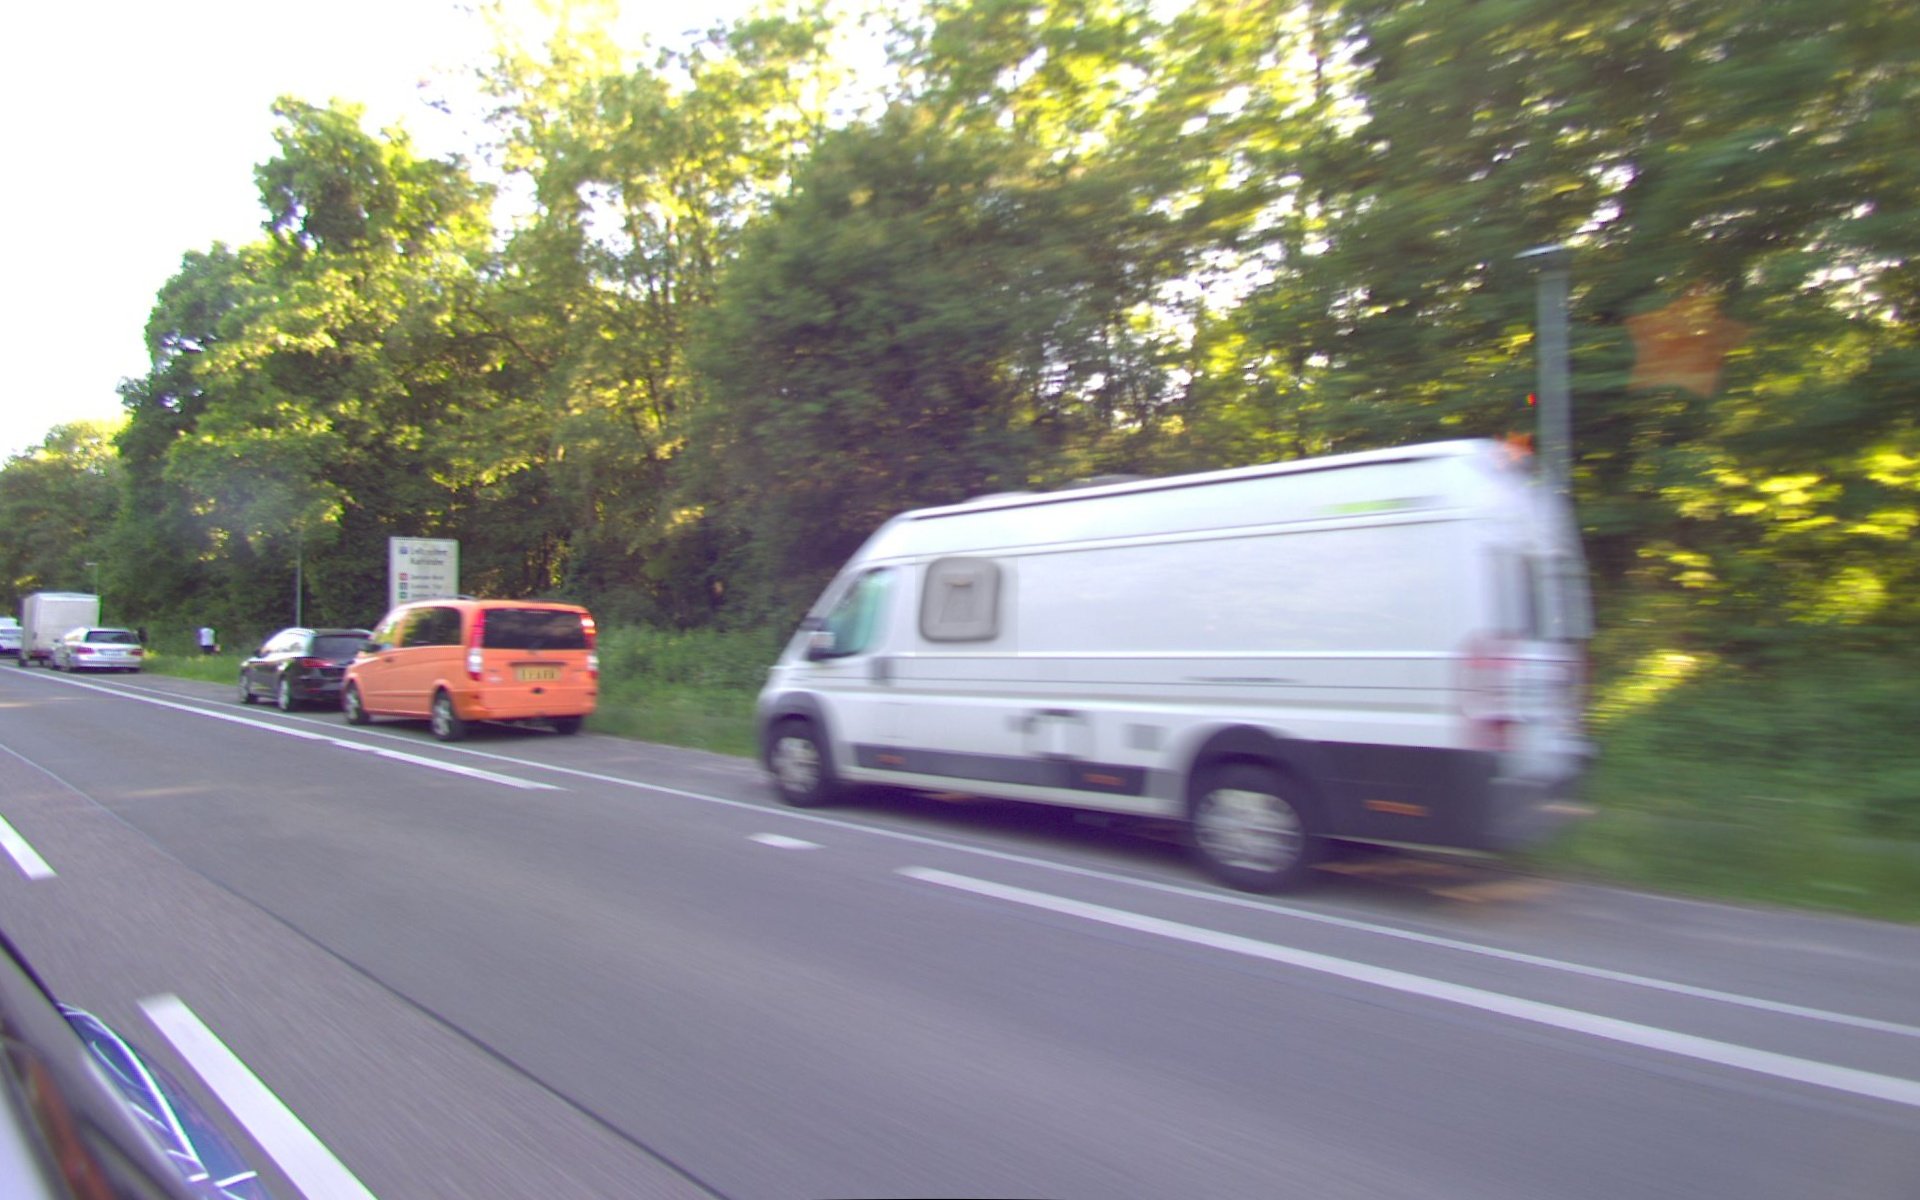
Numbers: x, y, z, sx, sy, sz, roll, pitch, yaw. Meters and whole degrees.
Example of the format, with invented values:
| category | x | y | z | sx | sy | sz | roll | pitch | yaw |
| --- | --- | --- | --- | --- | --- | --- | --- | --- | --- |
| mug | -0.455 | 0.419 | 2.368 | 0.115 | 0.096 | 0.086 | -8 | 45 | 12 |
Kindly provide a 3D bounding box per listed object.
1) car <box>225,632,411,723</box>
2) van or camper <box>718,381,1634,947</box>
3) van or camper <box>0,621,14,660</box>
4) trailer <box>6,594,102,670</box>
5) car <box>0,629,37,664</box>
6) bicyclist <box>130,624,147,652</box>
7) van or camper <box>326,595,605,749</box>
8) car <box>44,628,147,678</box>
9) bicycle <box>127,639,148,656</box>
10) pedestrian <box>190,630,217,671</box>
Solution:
| category | x | y | z | sx | sy | sz | roll | pitch | yaw |
| --- | --- | --- | --- | --- | --- | --- | --- | --- | --- |
| car | -11.880 | 1.342 | 18.620 | 4.322 | 1.489 | 1.713 | -2 | -3 | 41 |
| van or camper | 0.992 | 0.371 | 7.611 | 6.539 | 2.592 | 2.098 | -2 | -2 | 41 |
| van or camper | -49.665 | 2.040 | 51.347 | 4.852 | 1.926 | 1.817 | -2 | -3 | 40 |
| trailer | -32.902 | 1.188 | 36.728 | 4.413 | 2.617 | 1.972 | -2 | -4 | 41 |
| car | -44.199 | 2.144 | 46.754 | 4.522 | 1.552 | 1.756 | -2 | -3 | 41 |
| bicyclist | -38.287 | 1.766 | 47.155 | 0.973 | 1.244 | 0.482 | -2 | -1 | 41 |
| van or camper | -7.320 | 0.971 | 14.755 | 4.861 | 1.881 | 1.902 | -2 | -3 | 41 |
| car | -27.698 | 1.665 | 32.385 | 4.622 | 1.465 | 1.779 | -2 | -3 | 41 |
| bicycle | -38.382 | 2.211 | 47.231 | 1.486 | 0.718 | 0.516 | -2 | -1 | 41 |
| pedestrian | -29.843 | 1.976 | 39.924 | 0.700 | 1.579 | 0.706 | -2 | -1 | 41 |
